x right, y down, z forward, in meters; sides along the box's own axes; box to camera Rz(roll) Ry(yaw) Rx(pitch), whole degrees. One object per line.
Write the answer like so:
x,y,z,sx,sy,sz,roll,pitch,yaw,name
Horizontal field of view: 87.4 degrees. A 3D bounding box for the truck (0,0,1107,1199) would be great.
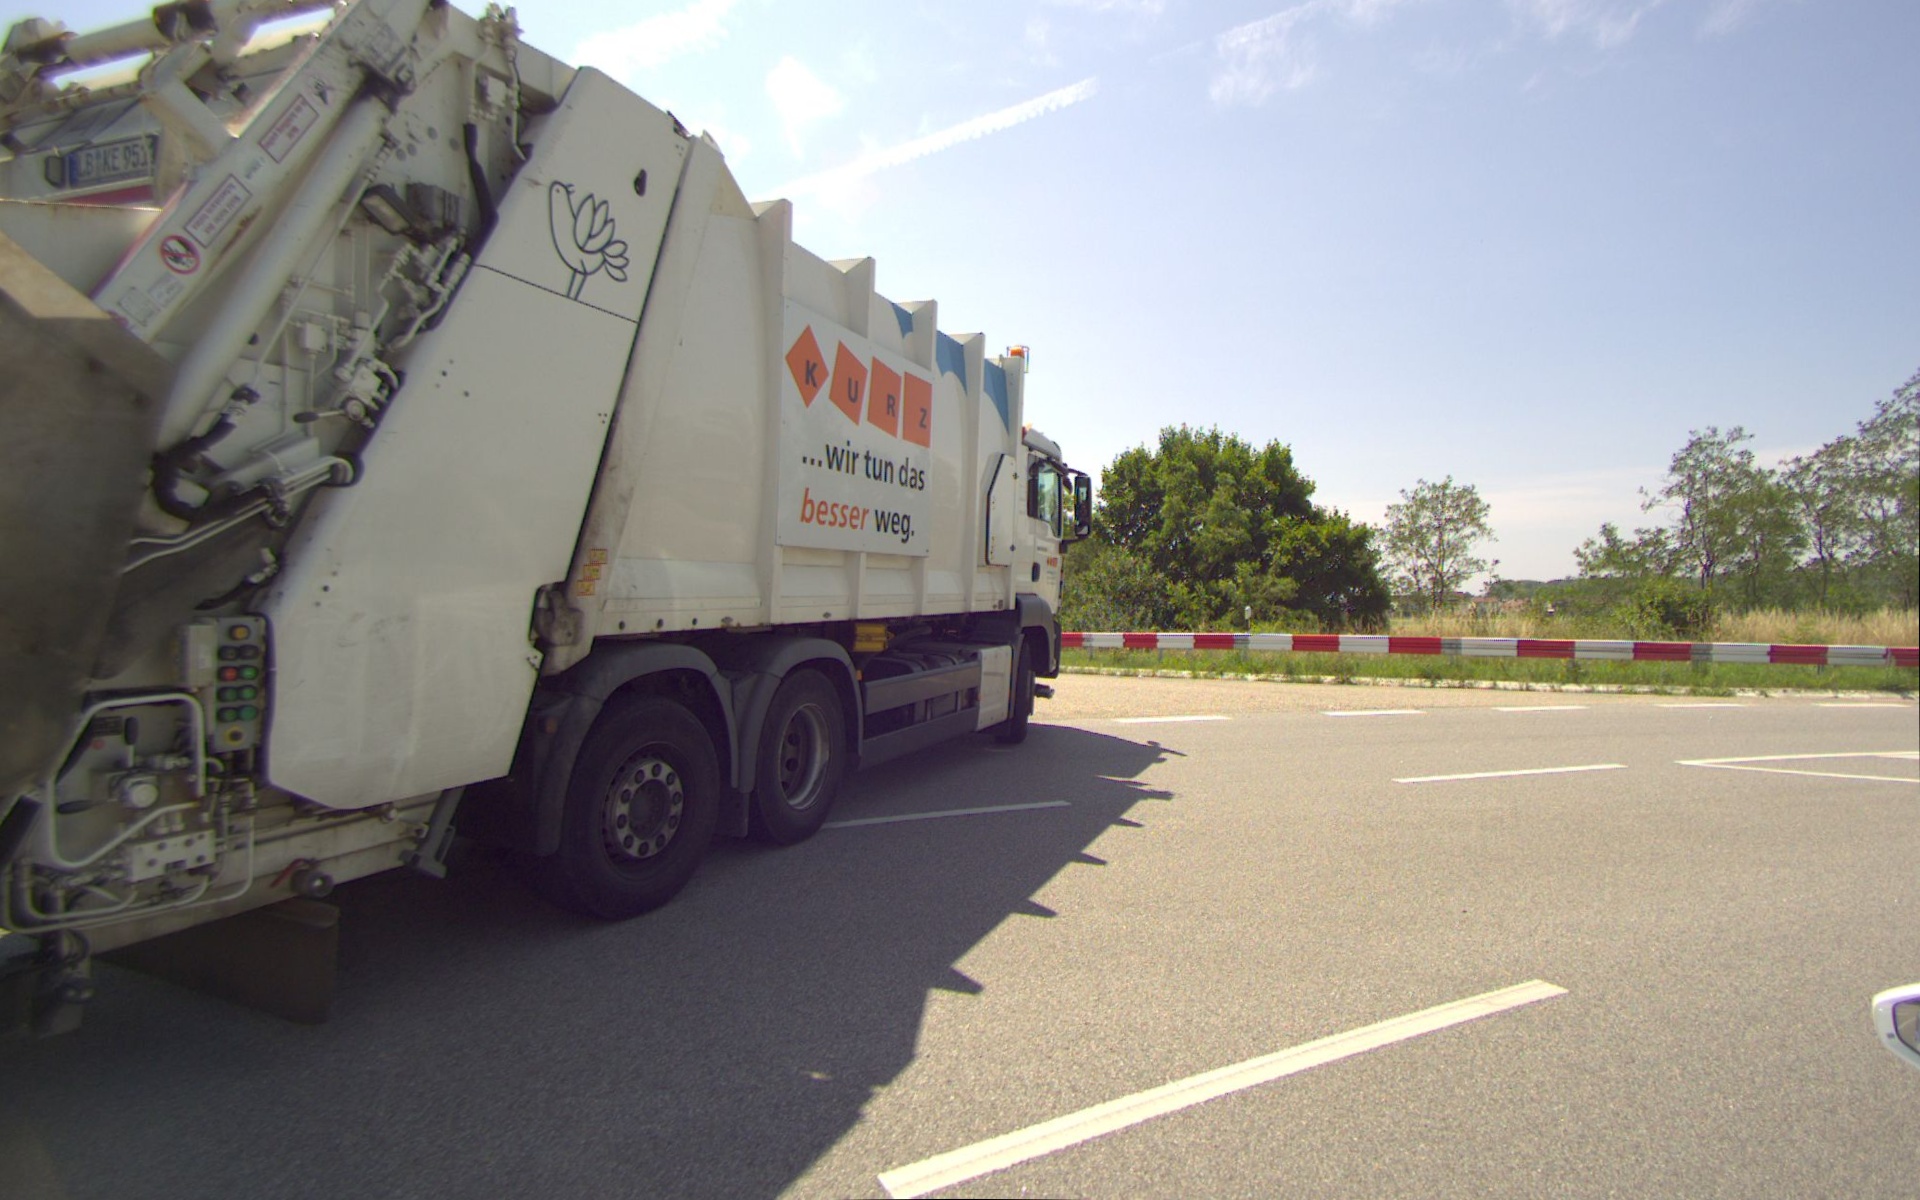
-1.632,-0.553,6.808,2.767,3.718,9.943,3,1,22,truck
